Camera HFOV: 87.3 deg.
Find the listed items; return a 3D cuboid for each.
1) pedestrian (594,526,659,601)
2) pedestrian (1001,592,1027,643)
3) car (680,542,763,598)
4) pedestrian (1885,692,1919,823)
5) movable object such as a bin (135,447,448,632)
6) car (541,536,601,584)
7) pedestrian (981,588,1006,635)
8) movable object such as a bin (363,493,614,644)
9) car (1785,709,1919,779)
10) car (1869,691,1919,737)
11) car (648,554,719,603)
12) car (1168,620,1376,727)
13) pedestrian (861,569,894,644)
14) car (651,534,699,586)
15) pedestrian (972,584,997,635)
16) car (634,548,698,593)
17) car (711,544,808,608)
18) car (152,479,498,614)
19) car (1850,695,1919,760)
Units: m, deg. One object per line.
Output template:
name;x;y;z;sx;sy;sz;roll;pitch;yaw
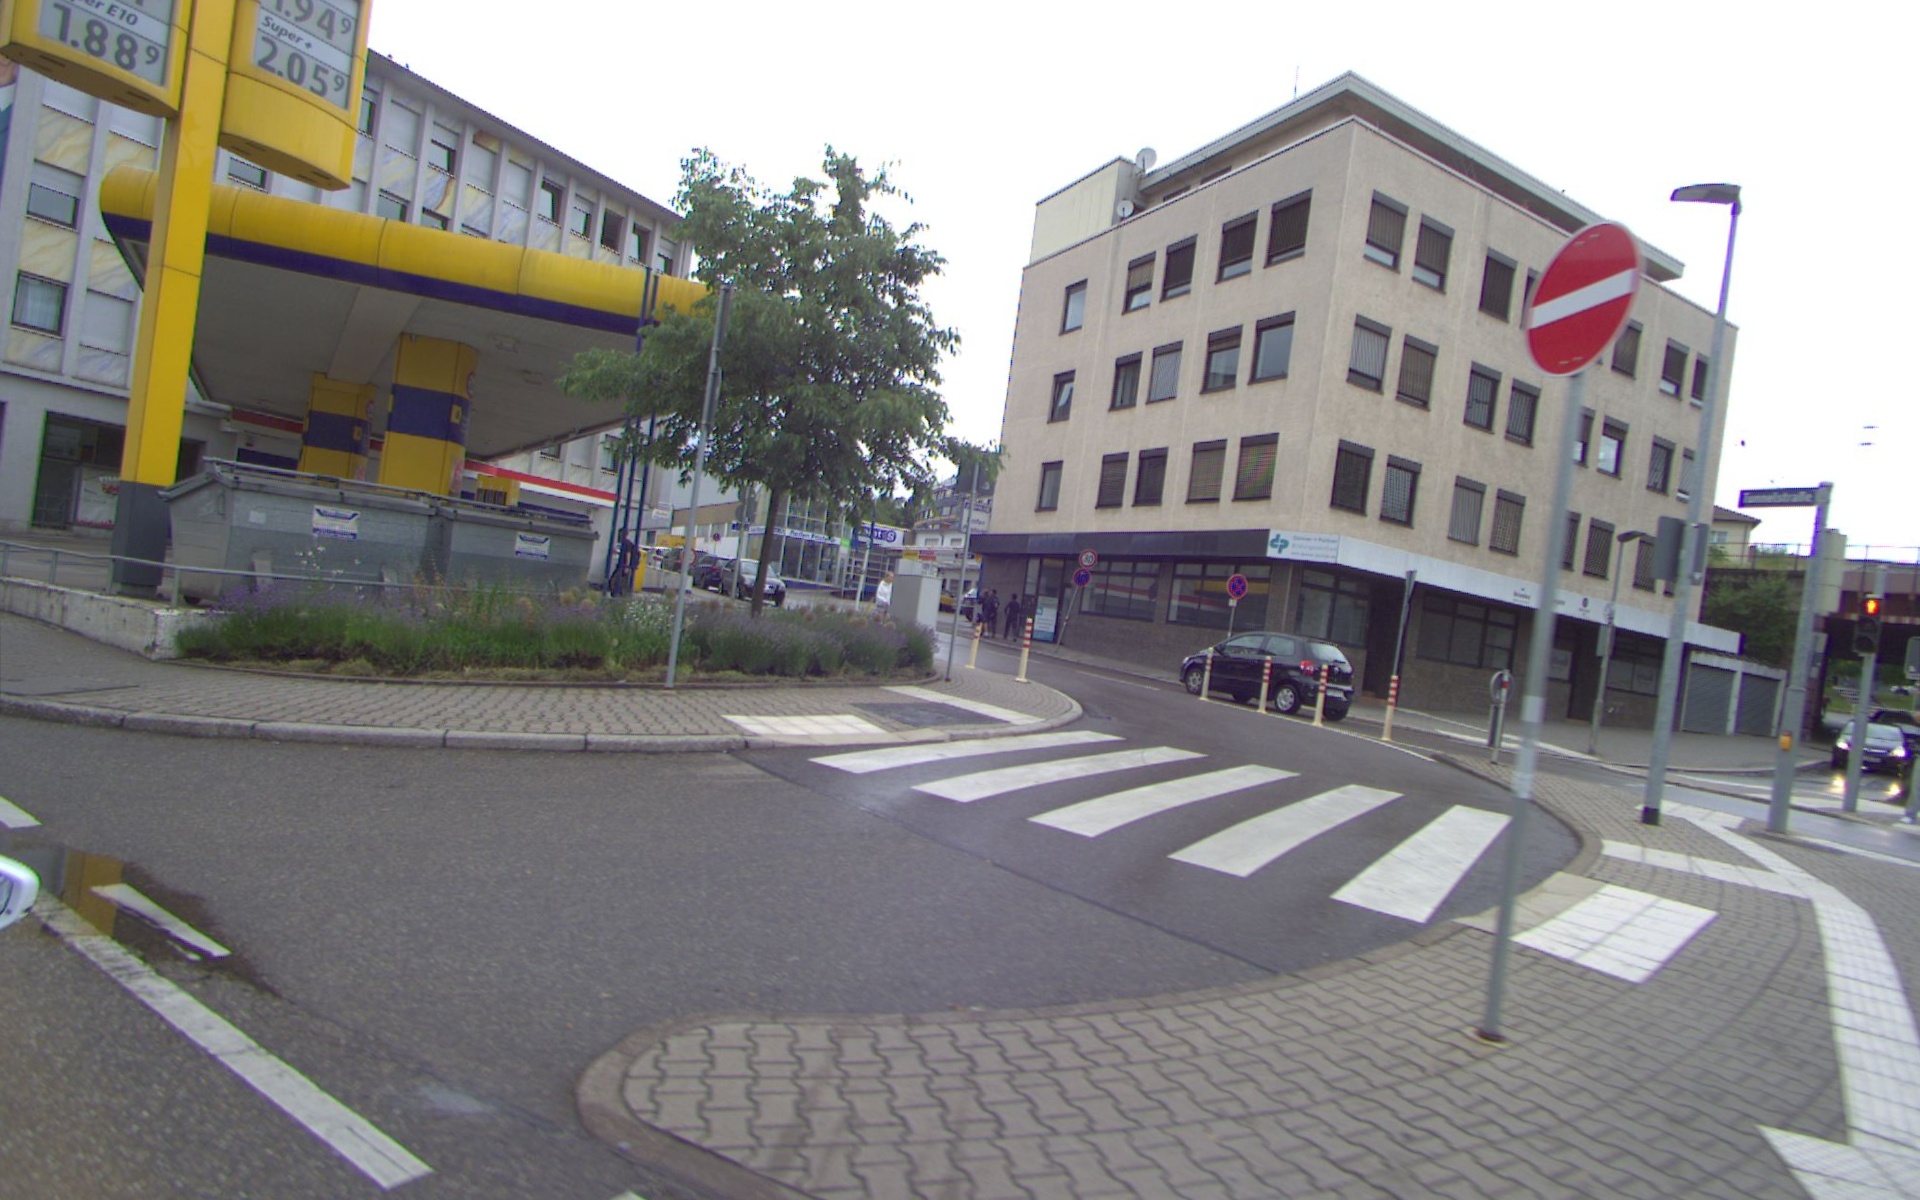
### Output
pedestrian;-7.709;-0.827;23.339;1.095;1.541;0.917;8;-2;-9
pedestrian;1.927;0.617;35.720;0.474;1.762;0.571;8;-1;-28
car;-9.874;-1.236;41.353;1.979;1.885;4.547;9;-3;-29
pedestrian;13.816;2.259;14.200;0.761;1.811;0.858;7;-2;28
movable object such as a bin;-7.086;-0.608;10.759;1.744;1.594;2.158;7;0;32
car;-15.313;-1.519;39.729;1.972;1.534;4.400;6;-1;-21
pedestrian;1.220;0.428;36.927;0.474;1.666;0.571;8;-1;-28
movable object such as a bin;-5.887;-0.362;12.665;1.744;1.575;2.157;7;1;32
car;27.183;4.332;30.808;1.965;1.463;4.477;7;1;28
car;51.163;6.238;54.956;1.974;2.036;3.981;6;-3;45
car;-12.903;-1.007;46.799;1.979;1.885;4.547;9;-3;-29
car;6.245;1.438;20.530;1.663;1.509;3.713;10;-2;-32
pedestrian;-1.773;0.138;21.596;0.472;1.532;0.574;8;-1;-8
car;-23.161;-3.204;81.653;2.358;3.729;4.960;9;-2;-28
pedestrian;0.890;0.338;36.339;0.474;1.762;0.571;8;-1;-28
car;-15.226;-1.520;51.917;1.979;1.885;4.547;9;-3;-29
car;-7.406;-0.883;36.734;1.979;1.885;4.547;9;-3;-29
car;-9.291;-0.740;15.074;3.936;1.460;1.740;6;1;-15
car;32.217;4.438;34.526;4.140;1.802;1.976;10;-3;-42
